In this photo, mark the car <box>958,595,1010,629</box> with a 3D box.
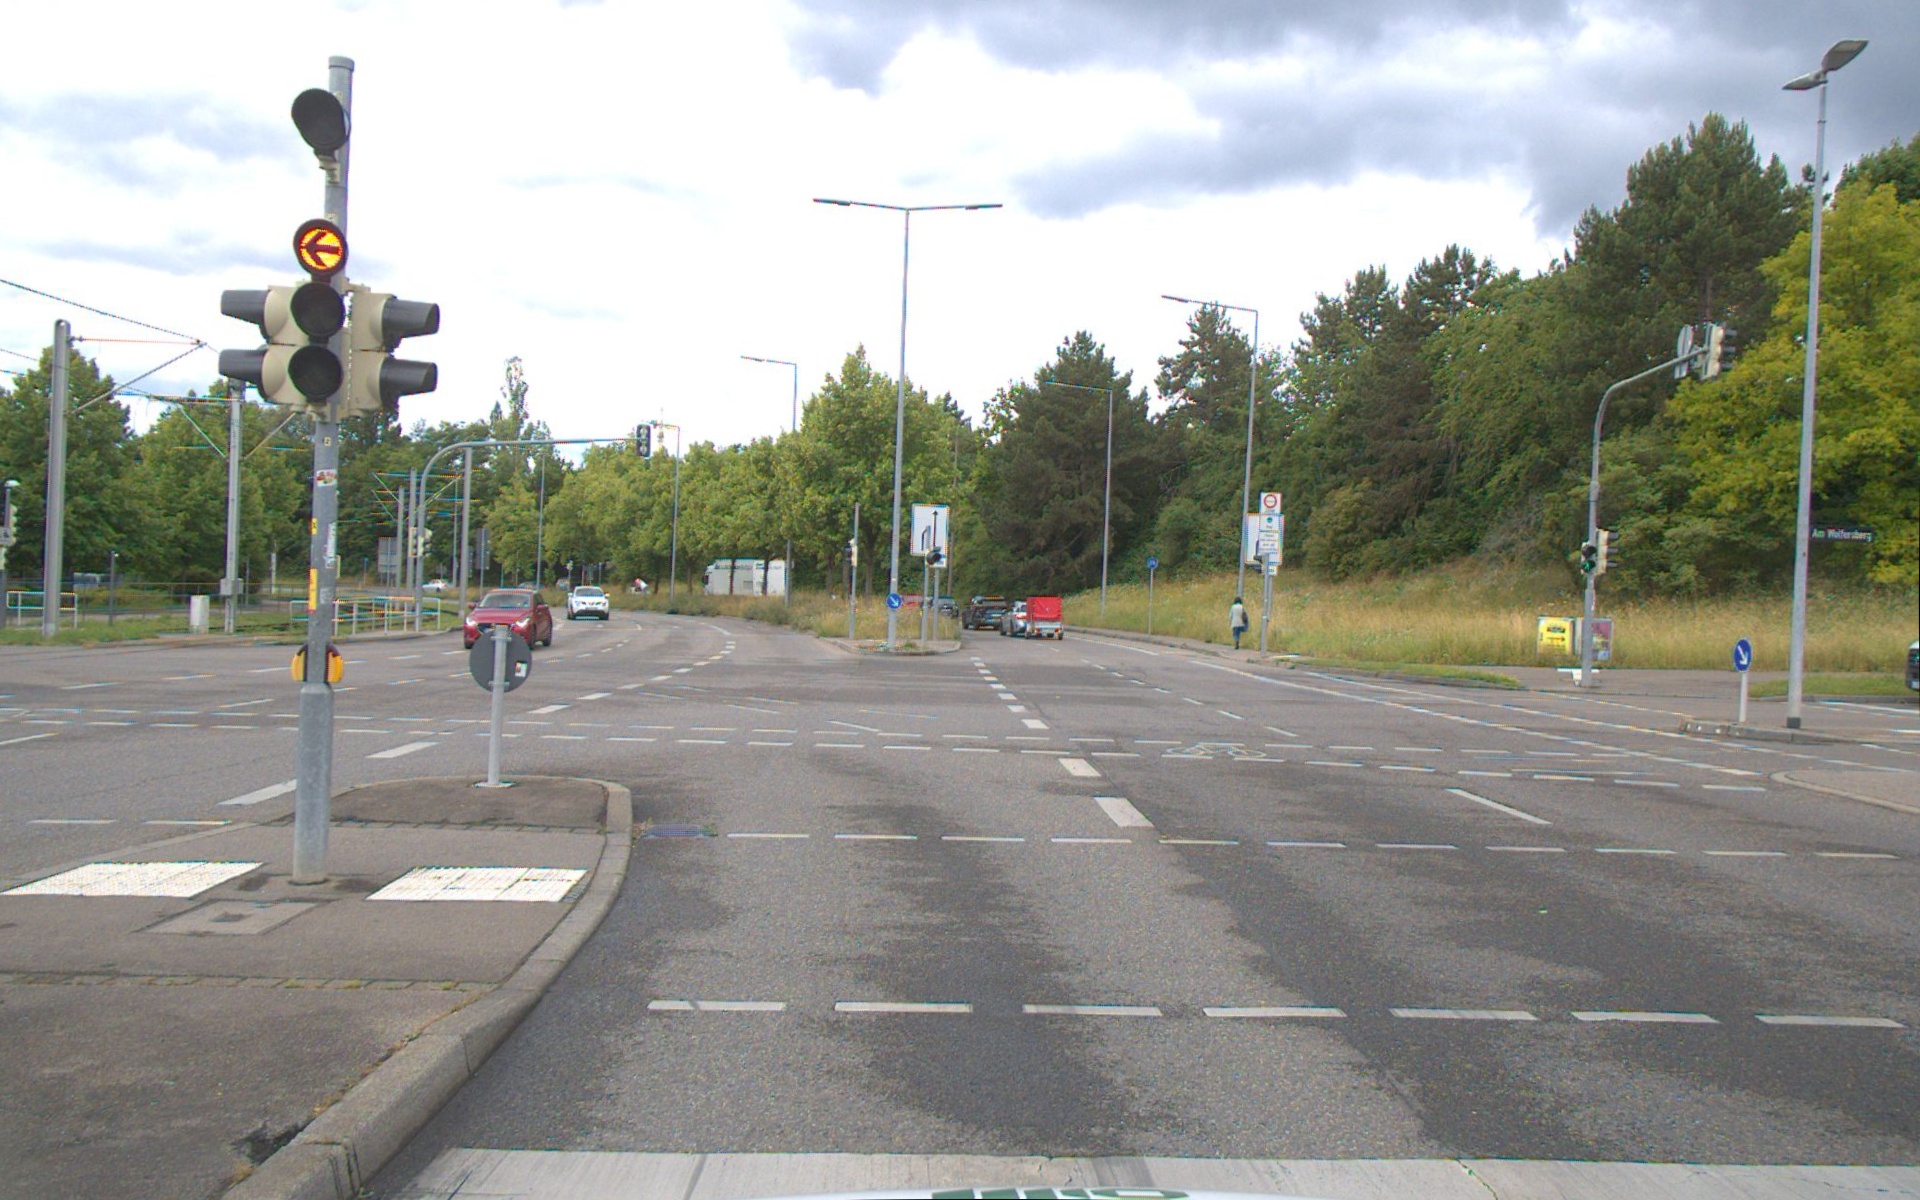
[{"bbox_3d":[1.148,0.550,80.327,1.746,1.573,4.015,1,0,-10],"label":"car"}]

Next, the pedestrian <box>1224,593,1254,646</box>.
[{"bbox_3d":[8.910,0.618,52.917,0.797,1.656,0.790,1,0,-1],"label":"pedestrian"}]

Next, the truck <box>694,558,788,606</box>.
[{"bbox_3d":[-16.471,-1.389,123.348,2.712,3.387,11.287,1,0,-31],"label":"truck"}]

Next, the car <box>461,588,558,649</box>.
[{"bbox_3d":[-11.408,0.447,42.140,1.747,1.468,4.418,0,0,-7],"label":"car"}]

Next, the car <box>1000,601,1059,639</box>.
[{"bbox_3d":[2.844,0.803,68.950,1.744,1.446,4.452,1,0,-7],"label":"car"}]

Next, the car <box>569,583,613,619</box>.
[{"bbox_3d":[-17.488,0.028,78.503,1.795,1.657,4.415,0,0,-10],"label":"car"}]

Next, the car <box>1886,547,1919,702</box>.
[{"bbox_3d":[20.334,0.468,30.093,5.772,2.830,2.135,0,0,-1],"label":"car"}]

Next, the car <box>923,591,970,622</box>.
[{"bbox_3d":[-0.763,0.345,89.749,1.747,1.573,4.012,1,0,-13],"label":"car"}]

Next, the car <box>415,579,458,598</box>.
[{"bbox_3d":[-50.269,-1.124,158.822,3.923,1.713,1.991,1,0,38],"label":"car"}]

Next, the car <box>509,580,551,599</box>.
[{"bbox_3d":[-39.318,-0.968,151.083,3.932,1.713,1.986,1,0,44],"label":"car"}]

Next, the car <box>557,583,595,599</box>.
[{"bbox_3d":[-38.677,-0.920,166.577,1.742,1.573,4.024,1,0,22],"label":"car"}]

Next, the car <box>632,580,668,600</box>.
[{"bbox_3d":[-25.640,-0.823,136.686,1.758,1.573,3.987,1,0,-29],"label":"car"}]

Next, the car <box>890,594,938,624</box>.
[{"bbox_3d":[-2.697,0.478,96.149,1.750,1.573,4.005,-1,2,-18],"label":"car"}]

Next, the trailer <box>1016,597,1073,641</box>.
[{"bbox_3d":[3.316,0.729,65.242,1.731,1.644,3.039,1,0,-7],"label":"trailer"}]
